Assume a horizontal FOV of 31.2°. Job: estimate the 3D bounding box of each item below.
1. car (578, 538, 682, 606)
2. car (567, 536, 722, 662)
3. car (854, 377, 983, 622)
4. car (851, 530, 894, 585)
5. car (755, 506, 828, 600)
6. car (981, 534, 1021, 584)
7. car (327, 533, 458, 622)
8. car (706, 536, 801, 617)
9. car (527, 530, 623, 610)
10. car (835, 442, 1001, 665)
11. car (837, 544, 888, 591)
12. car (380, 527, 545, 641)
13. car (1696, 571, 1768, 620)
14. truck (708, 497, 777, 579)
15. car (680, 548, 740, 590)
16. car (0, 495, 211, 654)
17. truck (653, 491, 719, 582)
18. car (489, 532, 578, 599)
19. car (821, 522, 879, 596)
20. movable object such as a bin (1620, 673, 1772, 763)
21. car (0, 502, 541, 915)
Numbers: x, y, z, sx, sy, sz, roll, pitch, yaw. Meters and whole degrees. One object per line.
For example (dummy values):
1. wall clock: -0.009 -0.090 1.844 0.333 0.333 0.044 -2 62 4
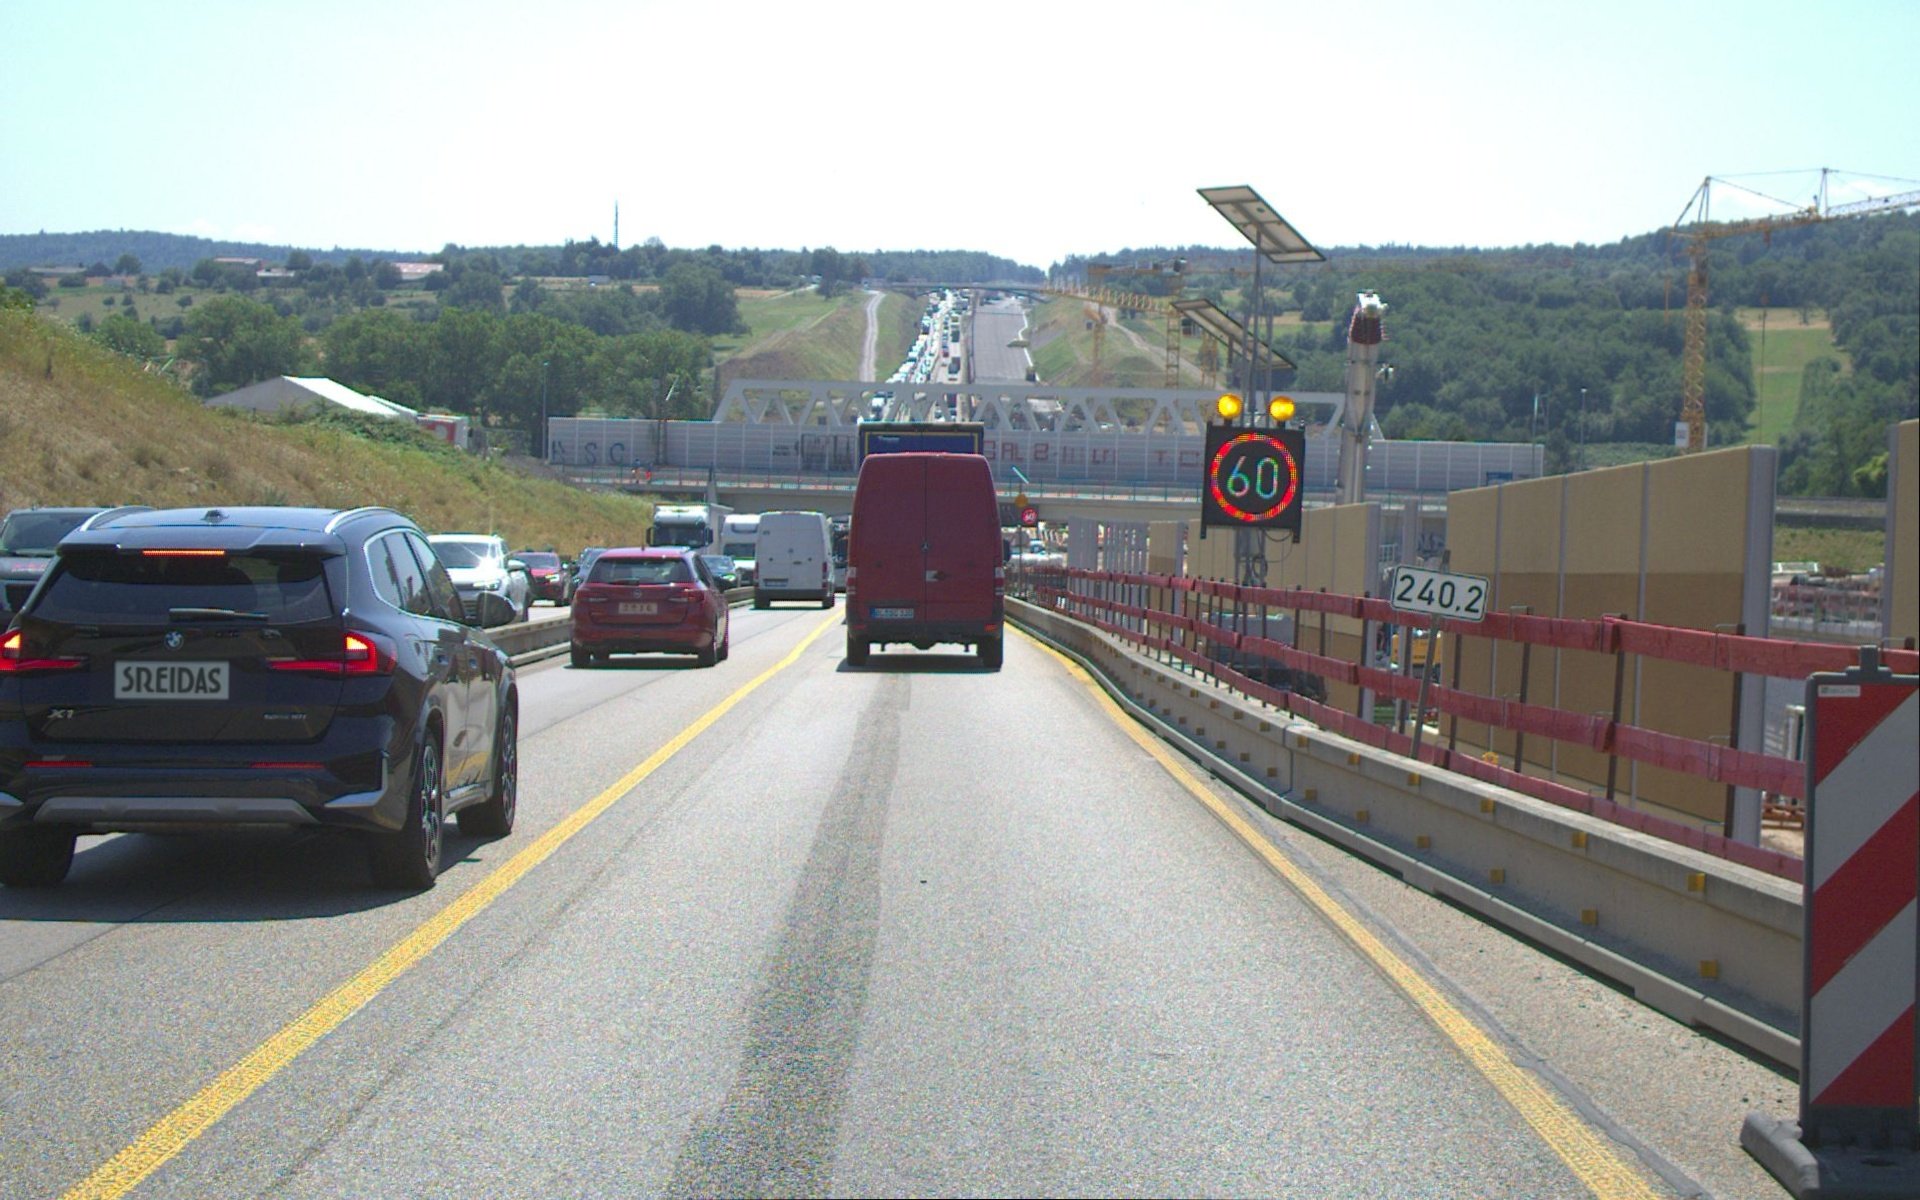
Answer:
1. car: -7.623 -0.670 79.813 1.955 1.494 5.090 1 1 -1
2. car: -3.917 -0.043 43.245 1.775 1.512 4.206 0 1 -3
3. car: -0.917 -2.136 75.605 2.621 5.015 10.397 0 1 -1
4. car: -3.734 -1.828 146.626 1.776 2.322 4.206 0 1 -1
5. car: -4.421 -1.245 90.706 1.776 2.433 4.206 0 1 -1
6. car: 1.940 -1.969 163.927 1.776 2.322 4.206 0 1 -1
7. car: -10.700 -0.447 65.091 1.684 1.580 5.127 1 1 -1
8. car: -4.321 -0.521 72.454 1.839 1.648 4.165 0 1 -1
9. car: -8.871 -0.708 79.471 1.776 1.784 4.206 0 1 -1
10. car: -0.534 -0.599 43.785 1.988 2.681 4.624 0 1 -1
11. car: -3.525 -1.192 125.076 1.776 1.664 4.029 0 1 -1
12. car: -7.505 -0.278 52.339 1.839 1.648 5.372 0 1 -1
13. car: 33.549 -0.211 149.452 1.805 2.007 4.826 1 1 -3
14. truck: -9.161 -2.600 145.146 2.538 3.362 7.038 1 1 -1
15. car: -8.677 -1.083 119.645 1.797 1.422 4.950 0 1 -1
16. car: -11.200 -0.354 44.365 2.038 1.919 5.122 0 1 -1
17. truck: -12.343 -2.860 155.103 2.698 4.036 3.955 1 1 -1
18. car: -11.543 -0.952 93.312 1.830 1.784 5.026 0 1 -1
19. car: -3.502 -1.314 110.375 1.776 2.322 4.206 0 1 -1
20. movable object such as a bin: 23.948 3.798 112.338 3.163 2.437 7.895 3 0 0
21. car: -3.103 0.391 15.695 1.879 1.612 4.499 0 1 -1
